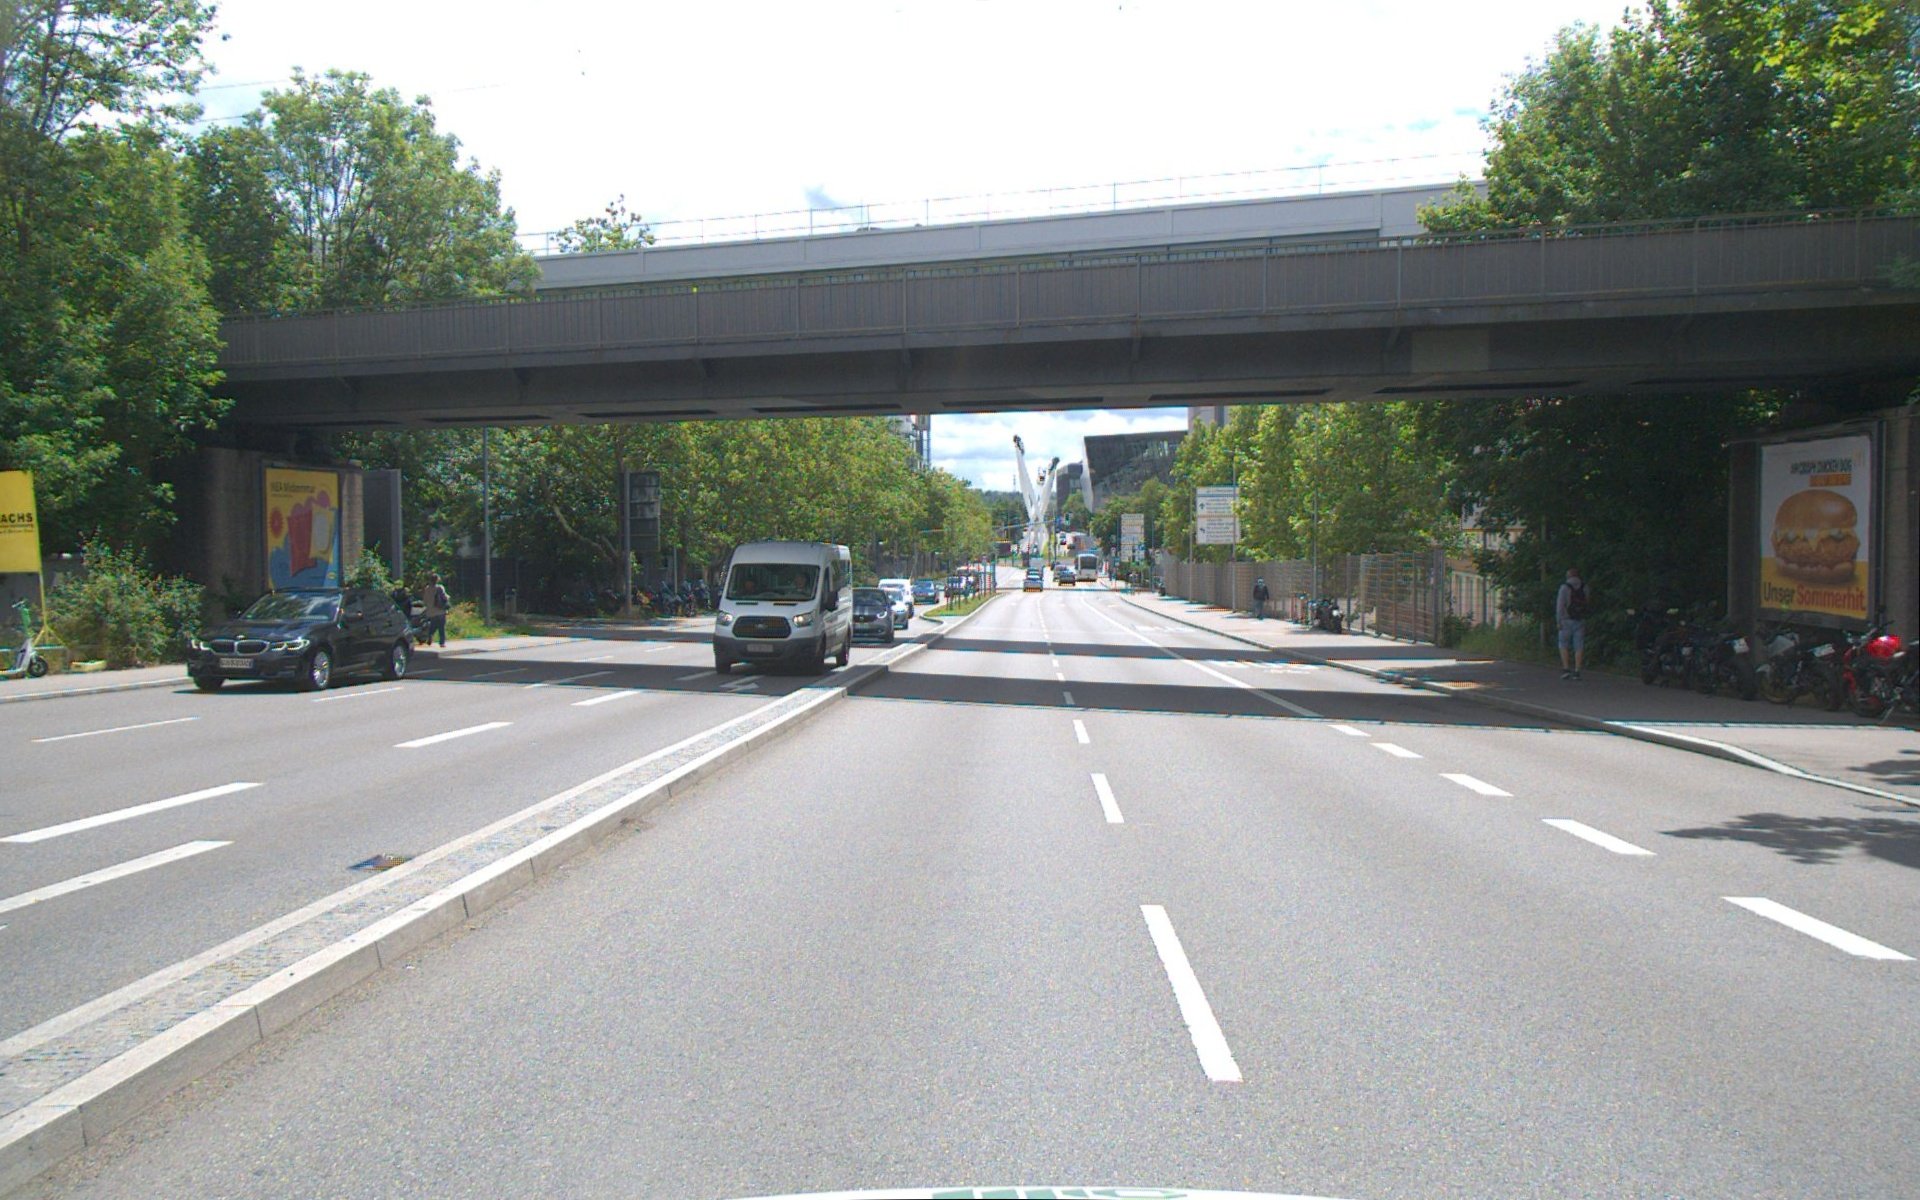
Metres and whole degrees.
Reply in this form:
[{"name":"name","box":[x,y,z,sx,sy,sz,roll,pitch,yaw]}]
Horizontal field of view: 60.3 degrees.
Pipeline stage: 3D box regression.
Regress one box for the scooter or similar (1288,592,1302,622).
[{"name":"scooter or similar","box":[13.456,0.268,66.515,0.361,1.197,1.133,0,0,1]}]

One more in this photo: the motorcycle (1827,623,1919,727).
[{"name":"motorcycle","box":[10.877,0.845,19.194,0.536,1.130,2.017,0,0,-1]}]

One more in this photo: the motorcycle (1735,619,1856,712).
[{"name":"motorcycle","box":[10.931,0.831,21.721,0.536,1.130,2.017,0,0,-1]}]

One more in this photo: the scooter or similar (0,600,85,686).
[{"name":"scooter or similar","box":[-13.654,0.626,24.582,0.599,1.232,1.261,0,0,1]}]

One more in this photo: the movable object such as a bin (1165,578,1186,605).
[{"name":"movable object such as a bin","box":[16.955,-0.667,130.127,1.629,2.170,1.279,0,0,7]}]

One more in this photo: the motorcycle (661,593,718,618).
[{"name":"motorcycle","box":[-12.617,0.264,77.170,2.522,1.126,0.795,0,0,14]}]

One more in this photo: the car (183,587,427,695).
[{"name":"car","box":[-9.787,0.581,25.142,1.694,1.481,4.559,0,0,3]}]

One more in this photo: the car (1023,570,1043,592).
[{"name":"car","box":[6.788,-1.770,153.896,1.889,1.802,4.004,0,5,3]}]

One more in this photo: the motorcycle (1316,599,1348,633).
[{"name":"motorcycle","box":[12.657,0.536,56.350,0.551,1.047,2.630,-1,1,2]}]

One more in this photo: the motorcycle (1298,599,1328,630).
[{"name":"motorcycle","box":[12.707,0.517,59.560,0.551,1.047,2.630,-1,1,2]}]

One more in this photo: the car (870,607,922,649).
[{"name":"car","box":[-2.323,1.006,60.734,1.665,1.461,3.925,0,0,1]}]

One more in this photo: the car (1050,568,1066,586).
[{"name":"car","box":[12.403,-2.924,208.787,1.952,2.047,4.004,0,5,3]}]

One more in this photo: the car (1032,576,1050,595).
[{"name":"car","box":[9.114,-1.635,186.415,1.819,1.734,4.004,0,6,1]}]

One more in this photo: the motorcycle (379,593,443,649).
[{"name":"motorcycle","box":[-12.554,0.492,37.865,0.672,1.231,2.073,2,-2,2]}]

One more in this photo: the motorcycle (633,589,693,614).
[{"name":"motorcycle","box":[-13.004,0.064,72.461,2.497,1.069,0.675,0,0,8]}]

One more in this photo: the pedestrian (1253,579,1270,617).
[{"name":"pedestrian","box":[13.364,-0.084,73.347,0.608,1.646,0.747,0,4,1]}]

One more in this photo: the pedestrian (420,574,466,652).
[{"name":"pedestrian","box":[-11.703,0.290,37.423,0.709,1.650,0.721,4,3,1]}]

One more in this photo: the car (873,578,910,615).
[{"name":"car","box":[-3.235,-0.170,78.174,1.666,1.728,3.923,0,0,-2]}]

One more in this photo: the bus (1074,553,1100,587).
[{"name":"bus","box":[16.284,-3.891,212.504,2.738,3.816,9.476,0,5,1]}]

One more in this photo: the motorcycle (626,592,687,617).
[{"name":"motorcycle","box":[-13.035,0.180,71.046,2.497,1.069,0.675,0,0,8]}]

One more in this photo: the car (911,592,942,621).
[{"name":"car","box":[-2.122,0.395,104.786,1.665,1.728,3.926,0,0,3]}]

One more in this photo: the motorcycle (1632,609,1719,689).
[{"name":"motorcycle","box":[11.321,0.751,26.231,0.536,1.219,1.903,0,0,-1]}]

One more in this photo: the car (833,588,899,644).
[{"name":"car","box":[-2.679,0.432,47.684,1.665,1.548,3.075,0,0,1]}]

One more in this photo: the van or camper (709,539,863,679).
[{"name":"van or camper","box":[-3.239,0.137,32.184,1.966,2.443,6.401,0,0,3]}]

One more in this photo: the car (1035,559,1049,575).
[{"name":"car","box":[11.267,-4.565,228.080,1.835,2.047,3.696,0,5,1]}]

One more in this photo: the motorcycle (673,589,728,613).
[{"name":"motorcycle","box":[-12.667,0.041,80.706,2.522,1.126,0.795,0,0,14]}]

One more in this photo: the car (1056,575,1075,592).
[{"name":"car","box":[11.766,-1.810,185.206,1.952,1.892,4.001,0,0,1]}]

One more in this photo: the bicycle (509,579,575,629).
[{"name":"bicycle","box":[-18.535,0.163,73.386,2.702,2.048,1.037,-2,5,-22]}]

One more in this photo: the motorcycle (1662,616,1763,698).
[{"name":"motorcycle","box":[10.969,0.809,24.180,0.536,1.130,2.017,0,0,-1]}]

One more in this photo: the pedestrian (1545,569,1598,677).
[{"name":"pedestrian","box":[10.873,0.412,29.408,0.610,1.891,0.872,0,-1,0]}]

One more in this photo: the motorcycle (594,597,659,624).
[{"name":"motorcycle","box":[-13.611,0.423,67.479,2.497,1.069,0.675,0,0,8]}]

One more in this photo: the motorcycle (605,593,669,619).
[{"name":"motorcycle","box":[-13.402,0.235,68.692,2.497,1.069,0.675,0,0,8]}]

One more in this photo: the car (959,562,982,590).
[{"name":"car","box":[1.025,-2.233,154.499,1.952,2.293,4.330,0,5,3]}]

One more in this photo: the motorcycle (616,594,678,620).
[{"name":"motorcycle","box":[-13.208,0.277,69.867,2.497,1.069,0.675,0,0,8]}]

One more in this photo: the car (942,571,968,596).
[{"name":"car","box":[-0.409,-1.338,134.230,1.952,2.049,4.001,0,1,2]}]
